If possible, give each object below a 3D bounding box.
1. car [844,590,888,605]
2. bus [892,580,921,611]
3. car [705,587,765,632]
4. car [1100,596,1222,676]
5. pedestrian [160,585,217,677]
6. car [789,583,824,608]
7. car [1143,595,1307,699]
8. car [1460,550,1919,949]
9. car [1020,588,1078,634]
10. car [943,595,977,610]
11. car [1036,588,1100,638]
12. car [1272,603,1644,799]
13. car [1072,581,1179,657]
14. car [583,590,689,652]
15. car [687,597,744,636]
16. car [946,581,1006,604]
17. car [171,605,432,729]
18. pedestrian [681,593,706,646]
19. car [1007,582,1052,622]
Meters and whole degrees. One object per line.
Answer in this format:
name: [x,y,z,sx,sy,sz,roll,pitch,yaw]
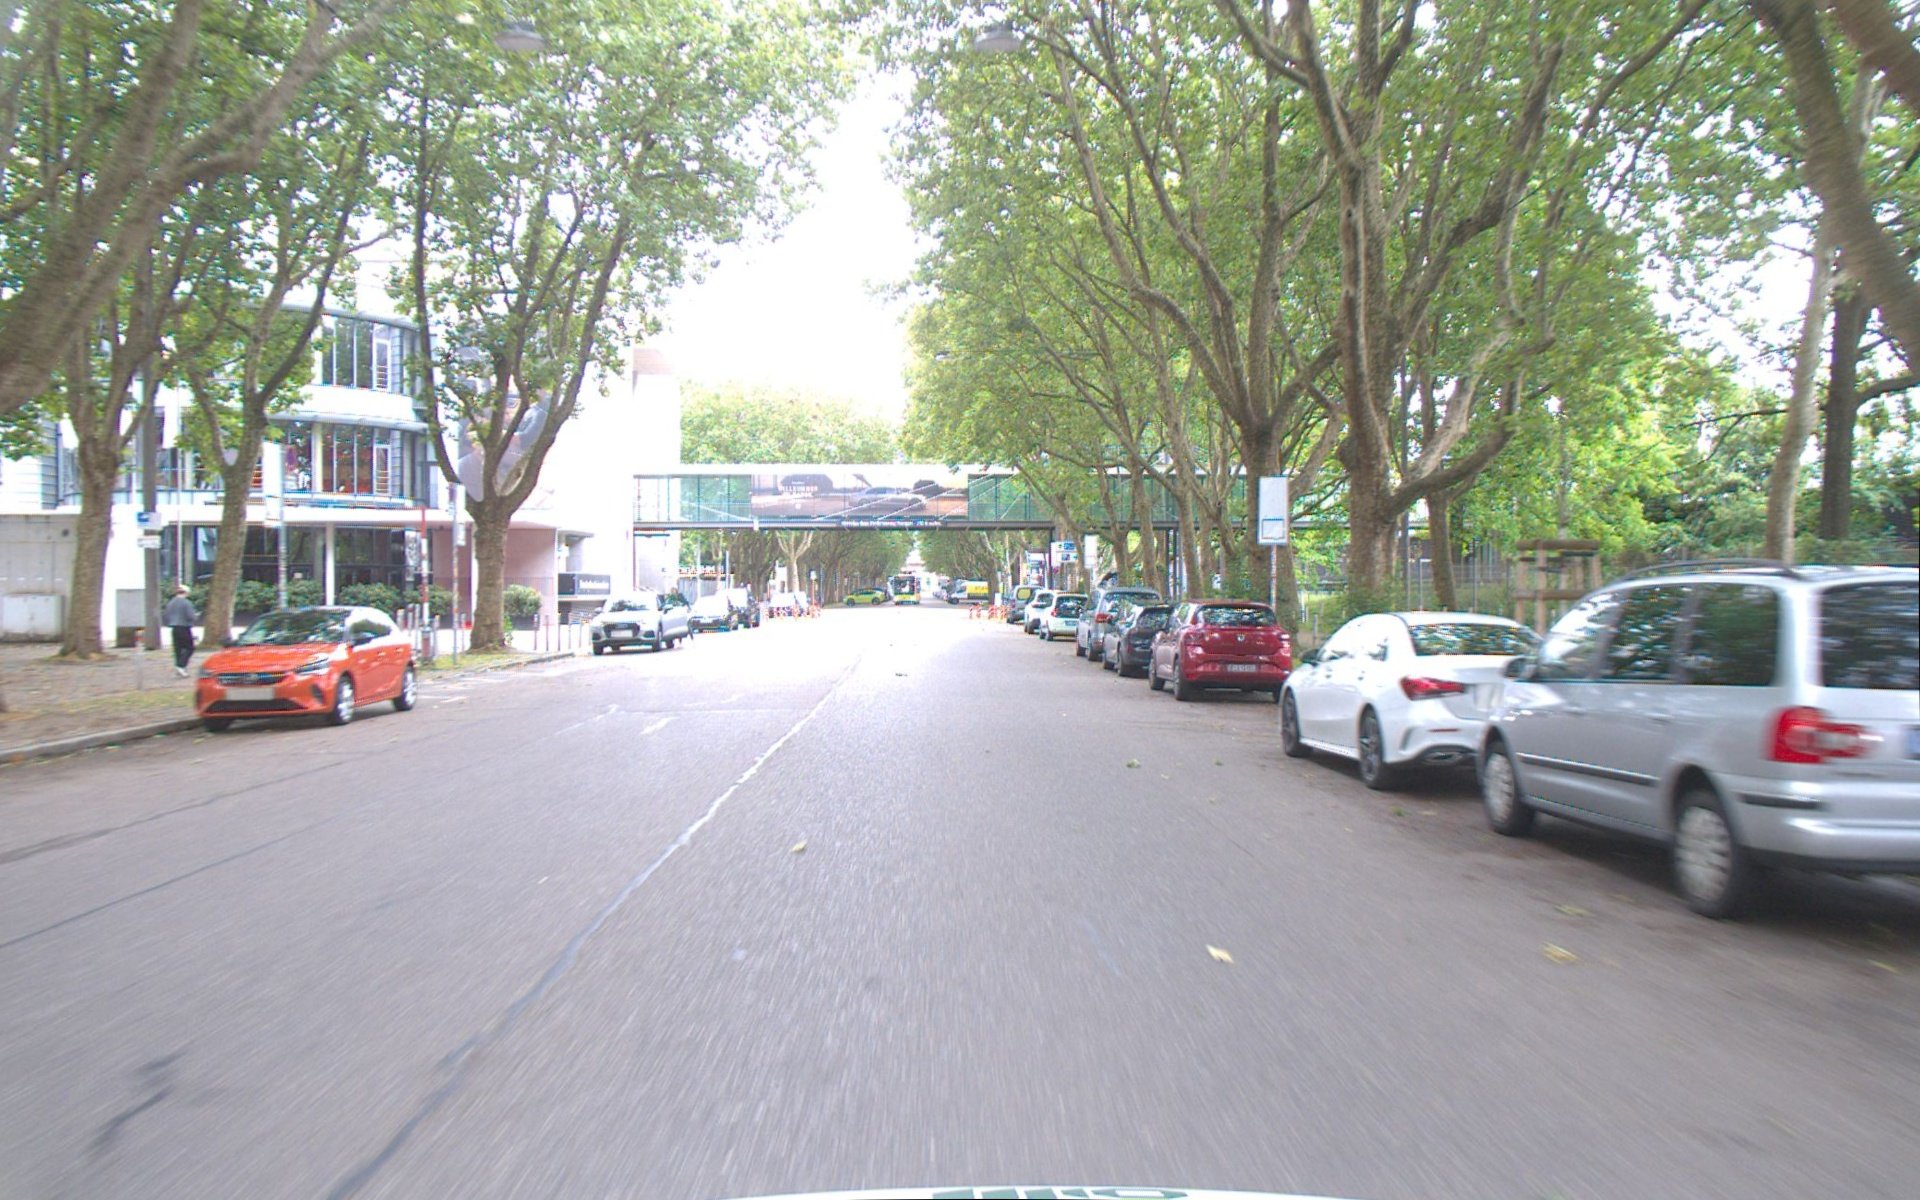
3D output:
car: [-10.166,-0.260,178.568,4.604,1.612,1.864,0,0,0]
bus: [-5.820,-0.483,179.893,2.977,3.215,12.672,-2,0,-2]
car: [-10.078,0.400,74.405,1.993,1.820,4.907,-3,0,-1]
car: [3.897,0.658,32.780,1.839,1.452,4.479,0,0,-1]
pedestrian: [-13.945,0.552,29.903,0.580,1.648,0.792,0,0,8]
car: [-10.382,-0.317,112.113,1.953,1.612,4.112,-3,0,-1]
car: [4.084,0.679,26.111,1.819,1.507,4.176,0,0,-2]
car: [4.559,0.651,9.620,1.864,1.769,4.505,0,0,-1]
car: [3.339,0.402,62.576,1.875,1.646,4.748,0,0,-1]
car: [-0.014,0.287,196.289,3.906,1.825,1.542,0,0,-2]
car: [3.512,0.409,54.155,1.771,1.553,4.095,0,0,-1]
car: [4.217,0.767,14.856,1.839,1.452,4.584,0,0,-2]
car: [3.899,0.427,39.680,1.941,1.709,4.729,0,0,-2]
car: [-8.821,0.542,45.395,2.031,1.590,4.755,0,0,-1]
car: [-10.062,0.646,68.305,1.670,1.444,4.324,-3,0,-1]
car: [1.785,-0.862,188.882,6.687,2.557,2.315,0,0,-3]
car: [-8.263,0.780,21.152,1.771,1.378,3.999,0,0,-1]
pedestrian: [-7.507,0.549,46.593,0.571,1.492,0.567,1,0,2]
car: [3.257,0.093,78.636,1.810,1.814,5.210,1,0,-1]
